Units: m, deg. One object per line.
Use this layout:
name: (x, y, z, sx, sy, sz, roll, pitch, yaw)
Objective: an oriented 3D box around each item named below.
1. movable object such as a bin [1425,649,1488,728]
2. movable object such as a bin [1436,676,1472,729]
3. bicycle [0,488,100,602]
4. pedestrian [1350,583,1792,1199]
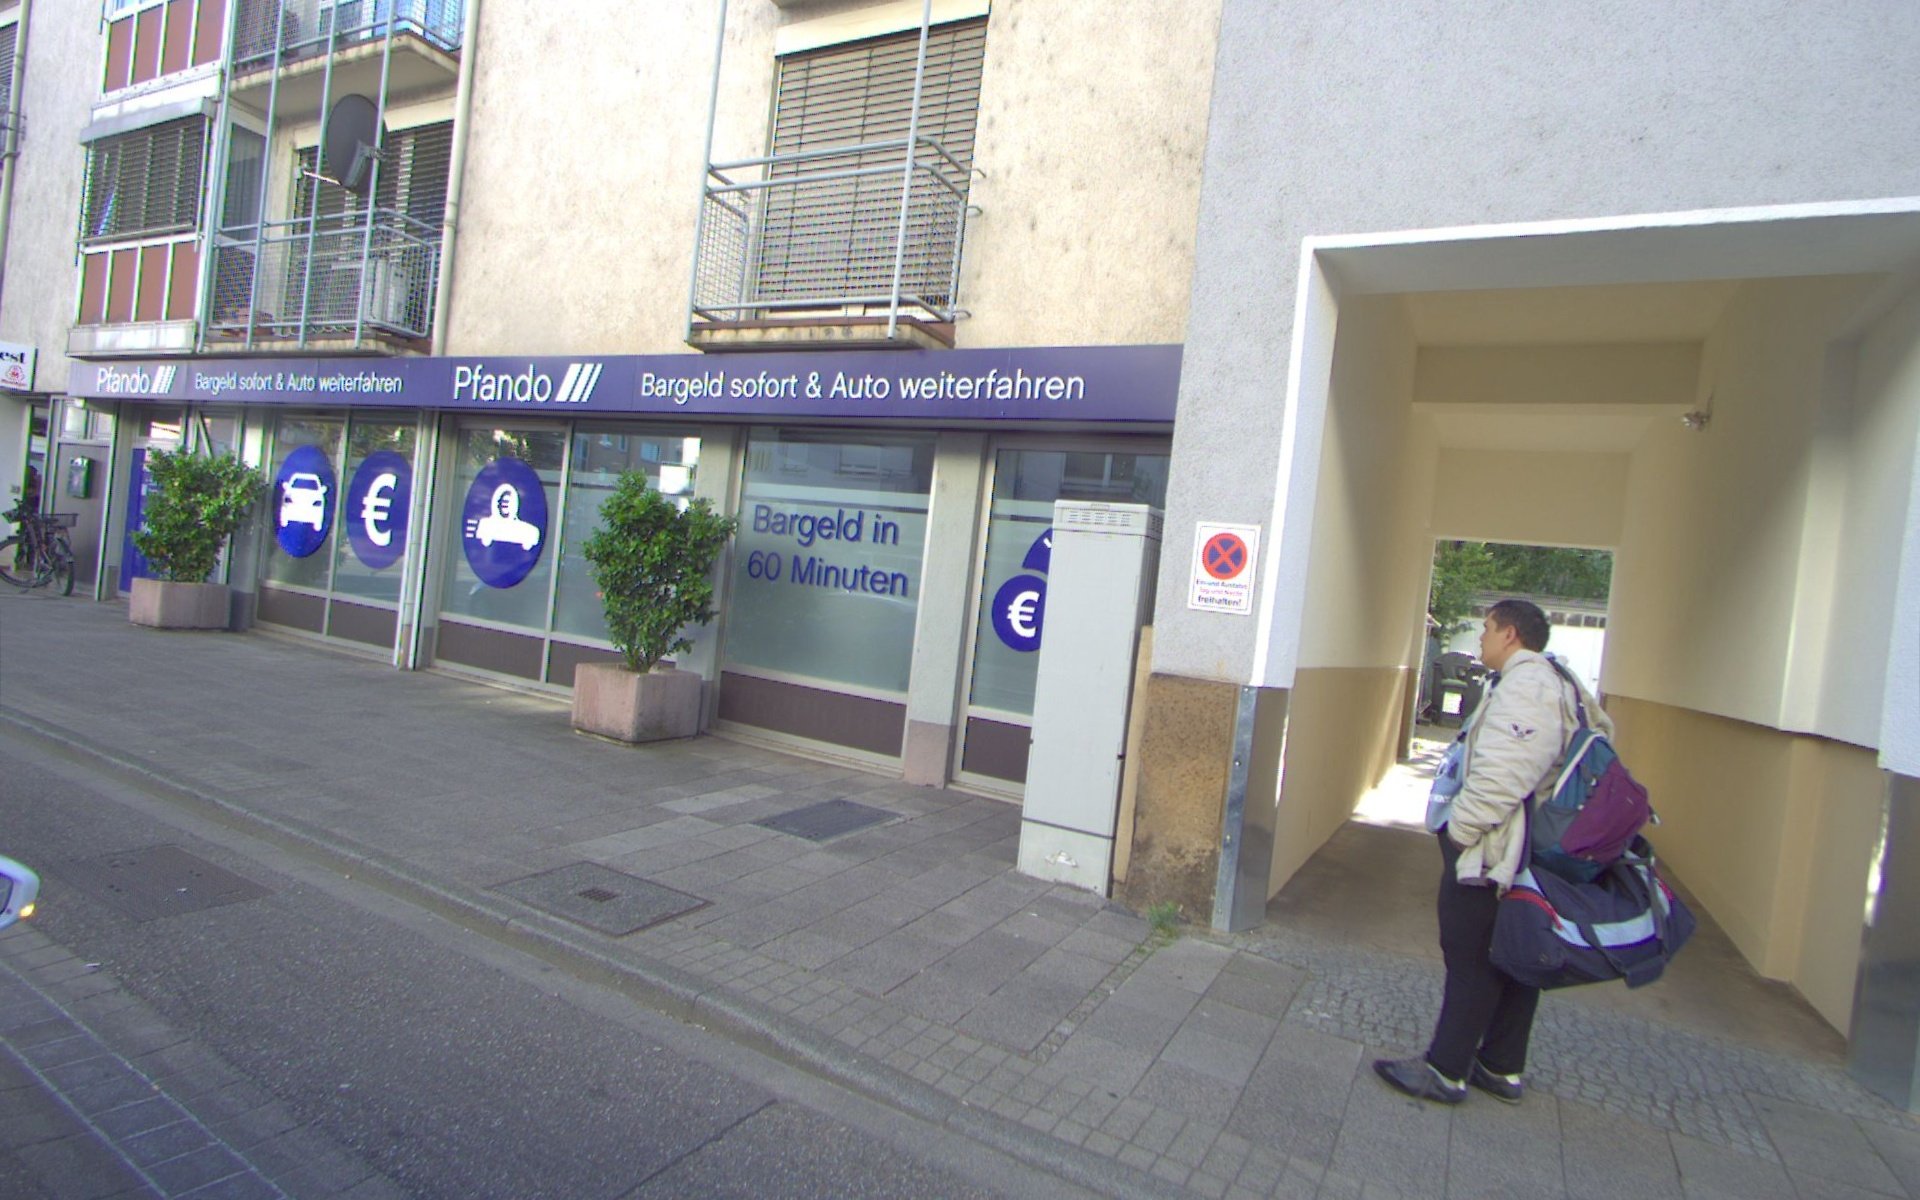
movable object such as a bin: (10.110, 1.779, 20.463, 0.945, 1.426, 1.598, 7, 1, 29)
movable object such as a bin: (9.559, 1.973, 19.460, 0.518, 0.922, 0.580, 7, 1, 29)
bicycle: (-11.846, -0.731, 12.884, 1.879, 1.280, 0.640, 7, 1, 32)
pedestrian: (1.830, 0.803, 3.145, 0.853, 1.593, 0.874, 8, 3, 29)
